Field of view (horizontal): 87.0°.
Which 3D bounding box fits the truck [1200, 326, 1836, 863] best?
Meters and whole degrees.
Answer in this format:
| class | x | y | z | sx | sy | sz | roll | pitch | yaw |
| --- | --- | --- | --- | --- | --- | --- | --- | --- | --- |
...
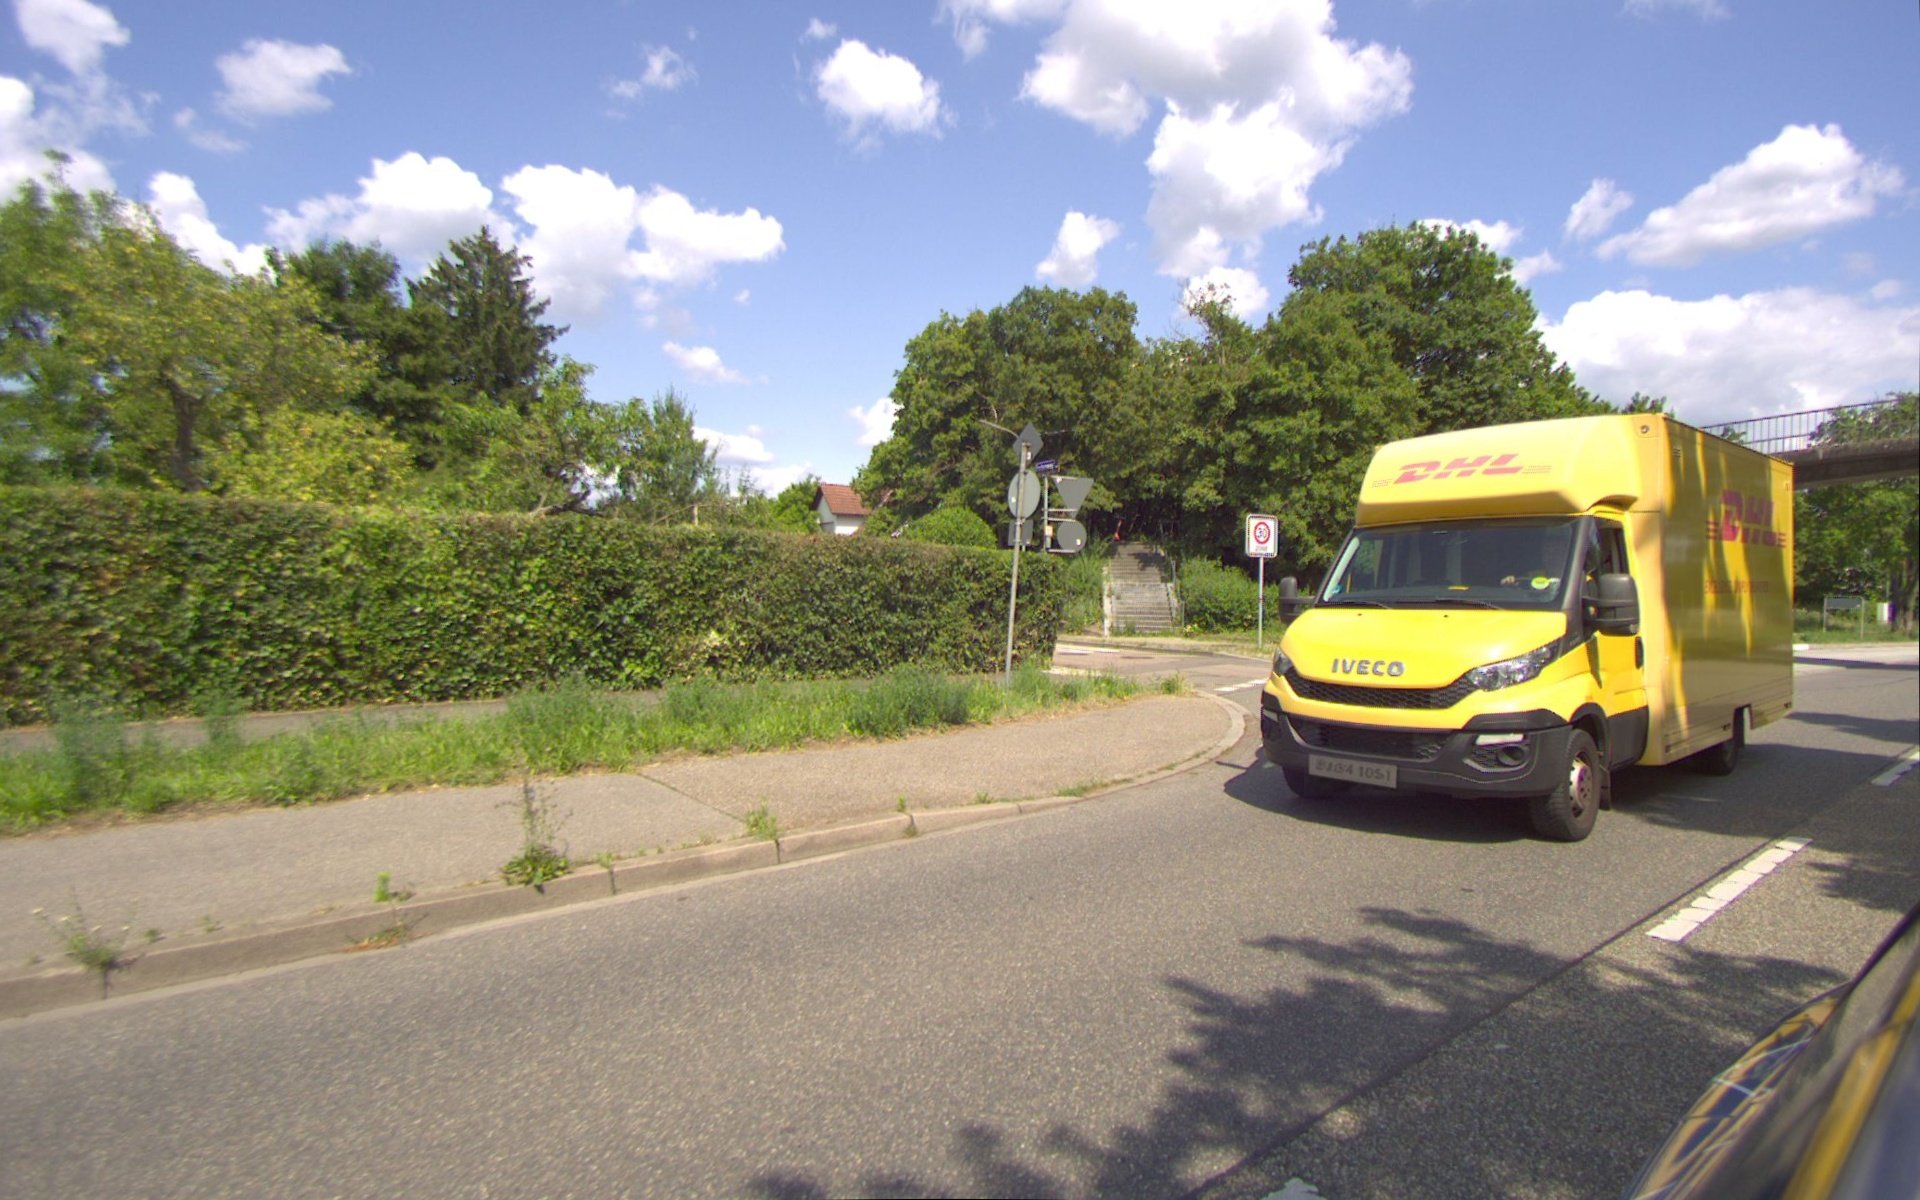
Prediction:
| class | x | y | z | sx | sy | sz | roll | pitch | yaw |
| --- | --- | --- | --- | --- | --- | --- | --- | --- | --- |
| truck | 5.449 | -0.033 | 8.937 | 7.886 | 2.917 | 2.269 | 0 | -1 | -40 |
